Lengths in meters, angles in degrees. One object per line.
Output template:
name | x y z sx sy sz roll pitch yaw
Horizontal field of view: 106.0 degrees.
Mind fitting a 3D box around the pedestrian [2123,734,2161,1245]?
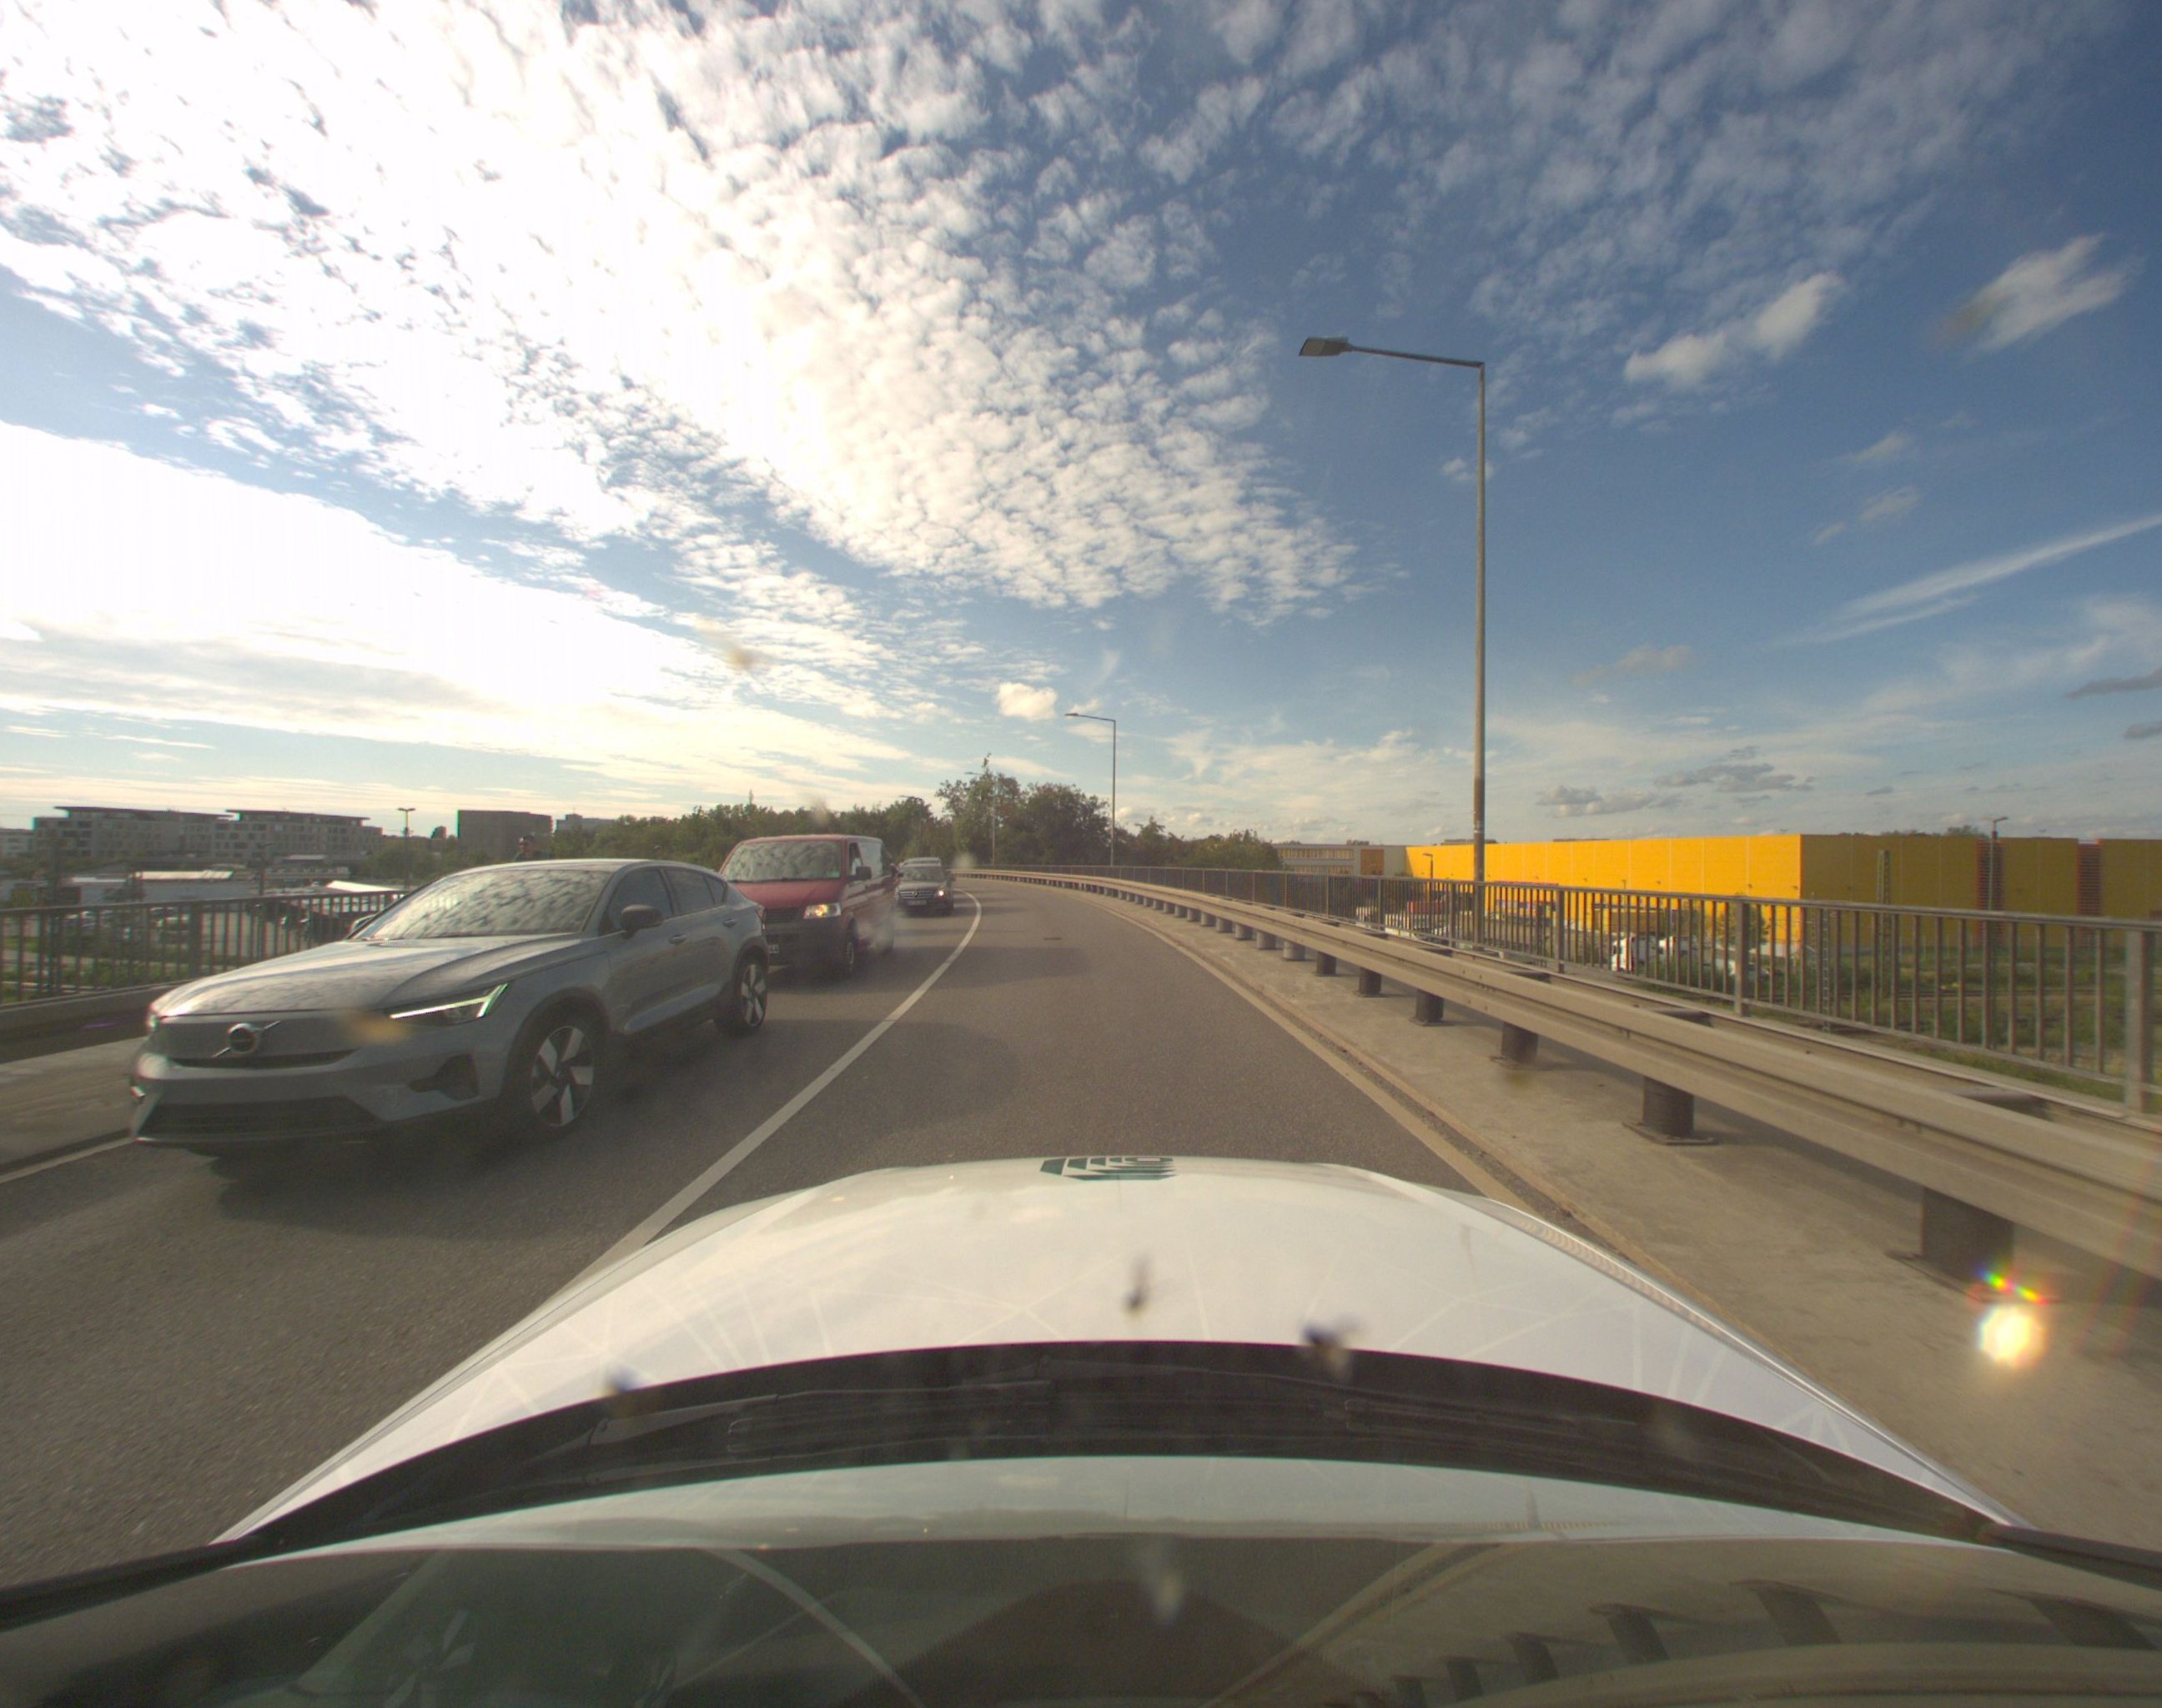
pedestrian | 3.821 0.433 2.267 0.674 1.661 0.866 -2 -1 2

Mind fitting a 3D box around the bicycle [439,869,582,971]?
bicycle | -8.223 0.898 11.866 0.762 1.331 1.914 -1 -1 -2

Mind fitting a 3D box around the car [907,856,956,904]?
car | -5.656 0.956 31.105 1.681 1.649 4.284 -2 0 -9

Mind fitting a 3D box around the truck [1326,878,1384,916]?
truck | 38.877 5.975 116.210 3.623 4.855 11.259 -1 -1 -4

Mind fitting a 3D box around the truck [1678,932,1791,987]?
truck | 55.324 8.823 69.268 2.028 3.379 8.602 -1 1 -6

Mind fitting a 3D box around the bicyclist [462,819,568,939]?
bicyclist | -8.245 0.354 11.924 0.764 1.660 1.119 -1 -1 -2

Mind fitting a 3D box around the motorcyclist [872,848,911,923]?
motorcyclist | -4.047 0.653 17.469 0.619 1.553 0.936 -2 0 -4

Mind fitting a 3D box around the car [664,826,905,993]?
car | -4.012 0.659 12.029 2.003 1.903 4.860 -2 0 -4

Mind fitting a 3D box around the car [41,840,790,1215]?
car | -3.737 0.779 5.794 1.747 1.609 4.313 -2 0 0

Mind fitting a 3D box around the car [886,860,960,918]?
car | -4.485 0.938 23.711 1.832 1.465 4.505 -2 0 -8

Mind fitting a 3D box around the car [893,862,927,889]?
car | -10.381 1.256 49.284 1.744 1.501 4.055 -2 0 -16

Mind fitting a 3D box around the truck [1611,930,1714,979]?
truck | 50.159 8.654 70.312 7.192 3.617 2.664 -1 1 -3

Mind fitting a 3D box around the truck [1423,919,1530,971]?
truck | 36.074 8.269 74.426 8.571 4.091 2.664 -1 1 -3

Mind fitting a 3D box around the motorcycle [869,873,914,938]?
motorcycle | -4.028 1.062 17.406 0.619 1.252 1.790 -2 0 -4
